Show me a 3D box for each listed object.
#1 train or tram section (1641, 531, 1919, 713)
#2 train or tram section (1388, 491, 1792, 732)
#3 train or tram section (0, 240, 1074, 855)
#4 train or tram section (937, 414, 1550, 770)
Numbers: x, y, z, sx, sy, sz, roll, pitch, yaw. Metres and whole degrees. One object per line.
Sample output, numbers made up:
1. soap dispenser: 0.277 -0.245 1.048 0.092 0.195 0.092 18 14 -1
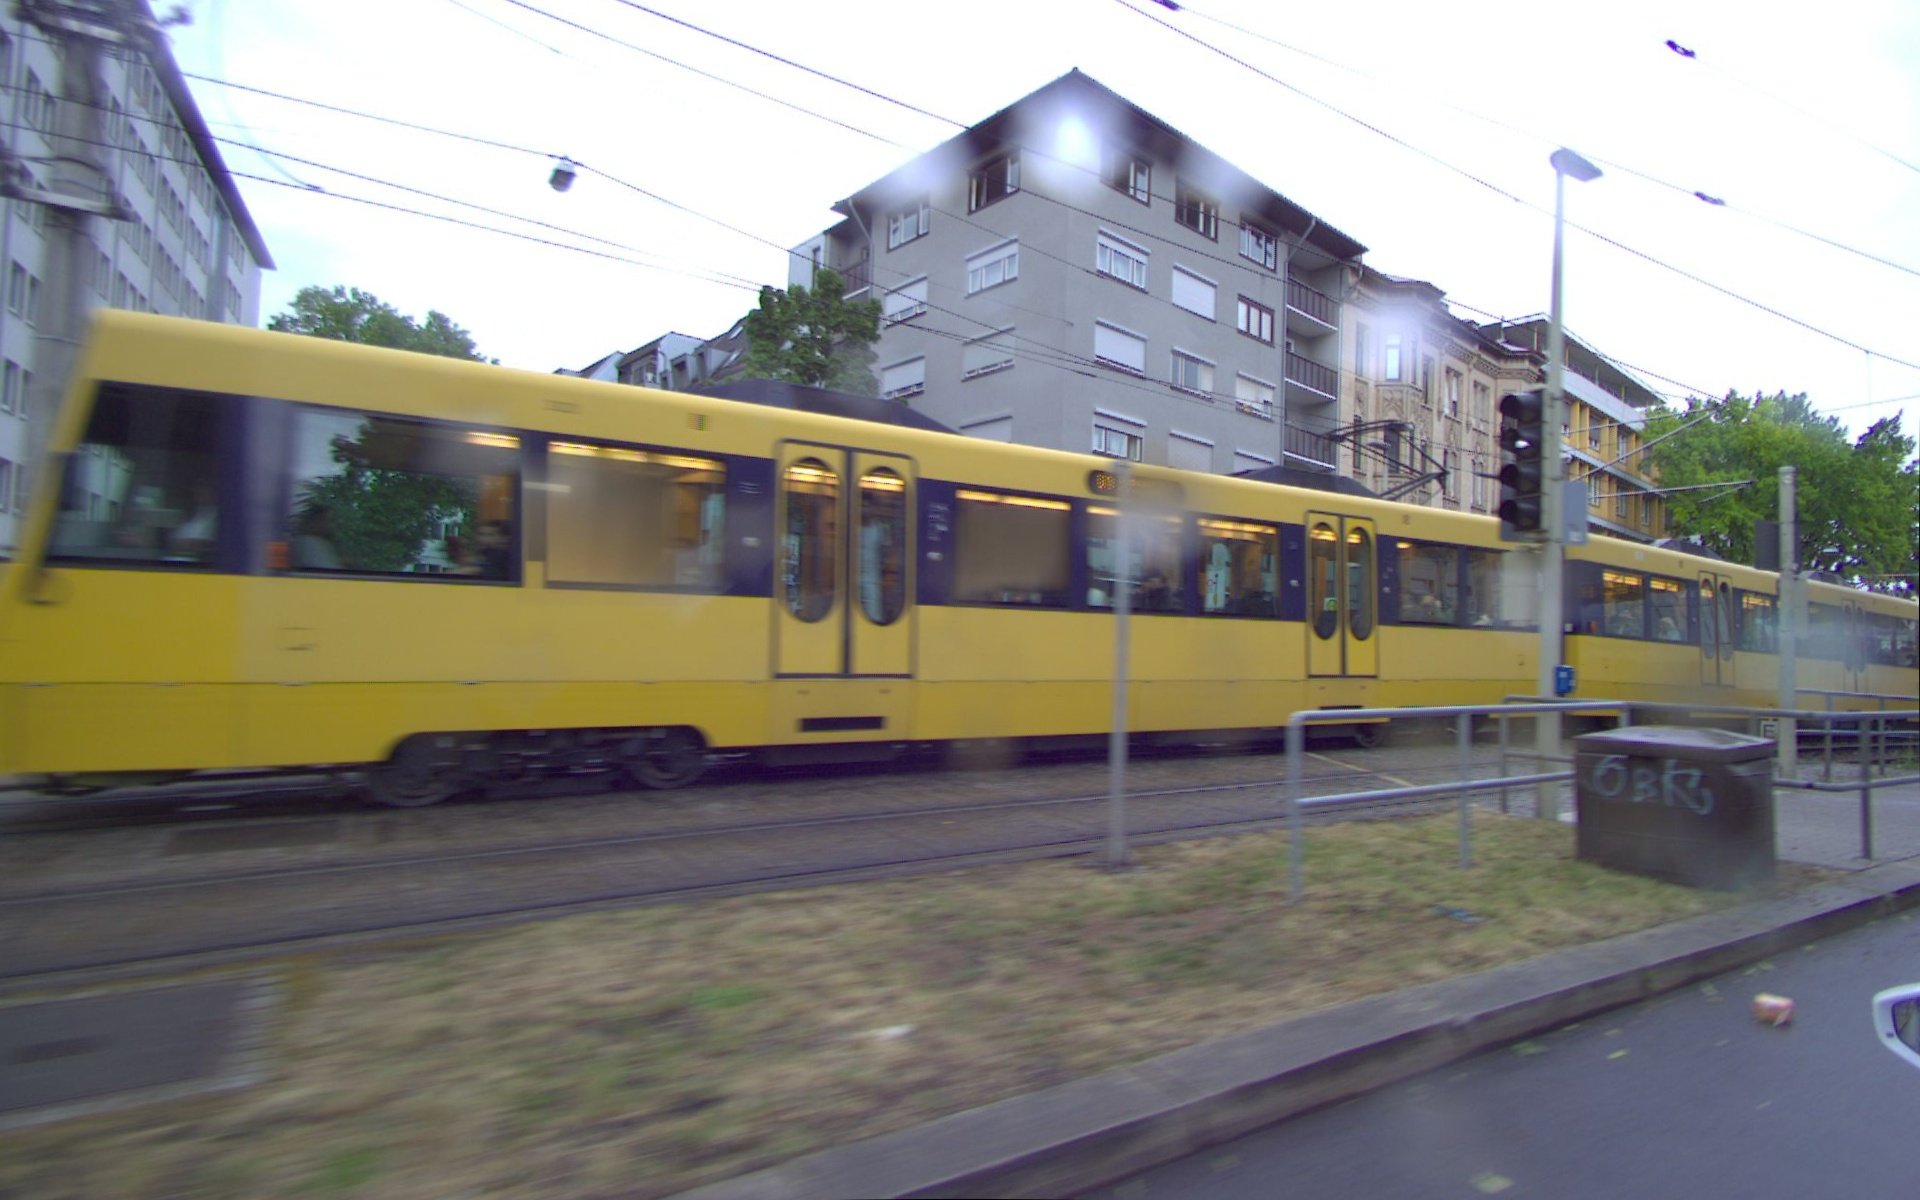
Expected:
1. train or tram section: 20.403 0.596 24.398 9.606 3.741 2.764 2 -1 -32
2. train or tram section: 12.371 0.328 19.293 9.404 3.741 2.764 2 -1 -32
3. train or tram section: -3.308 -0.197 9.333 8.875 3.741 2.764 2 -1 -32
4. train or tram section: 4.430 0.062 14.241 9.404 3.741 2.764 2 -1 -32
